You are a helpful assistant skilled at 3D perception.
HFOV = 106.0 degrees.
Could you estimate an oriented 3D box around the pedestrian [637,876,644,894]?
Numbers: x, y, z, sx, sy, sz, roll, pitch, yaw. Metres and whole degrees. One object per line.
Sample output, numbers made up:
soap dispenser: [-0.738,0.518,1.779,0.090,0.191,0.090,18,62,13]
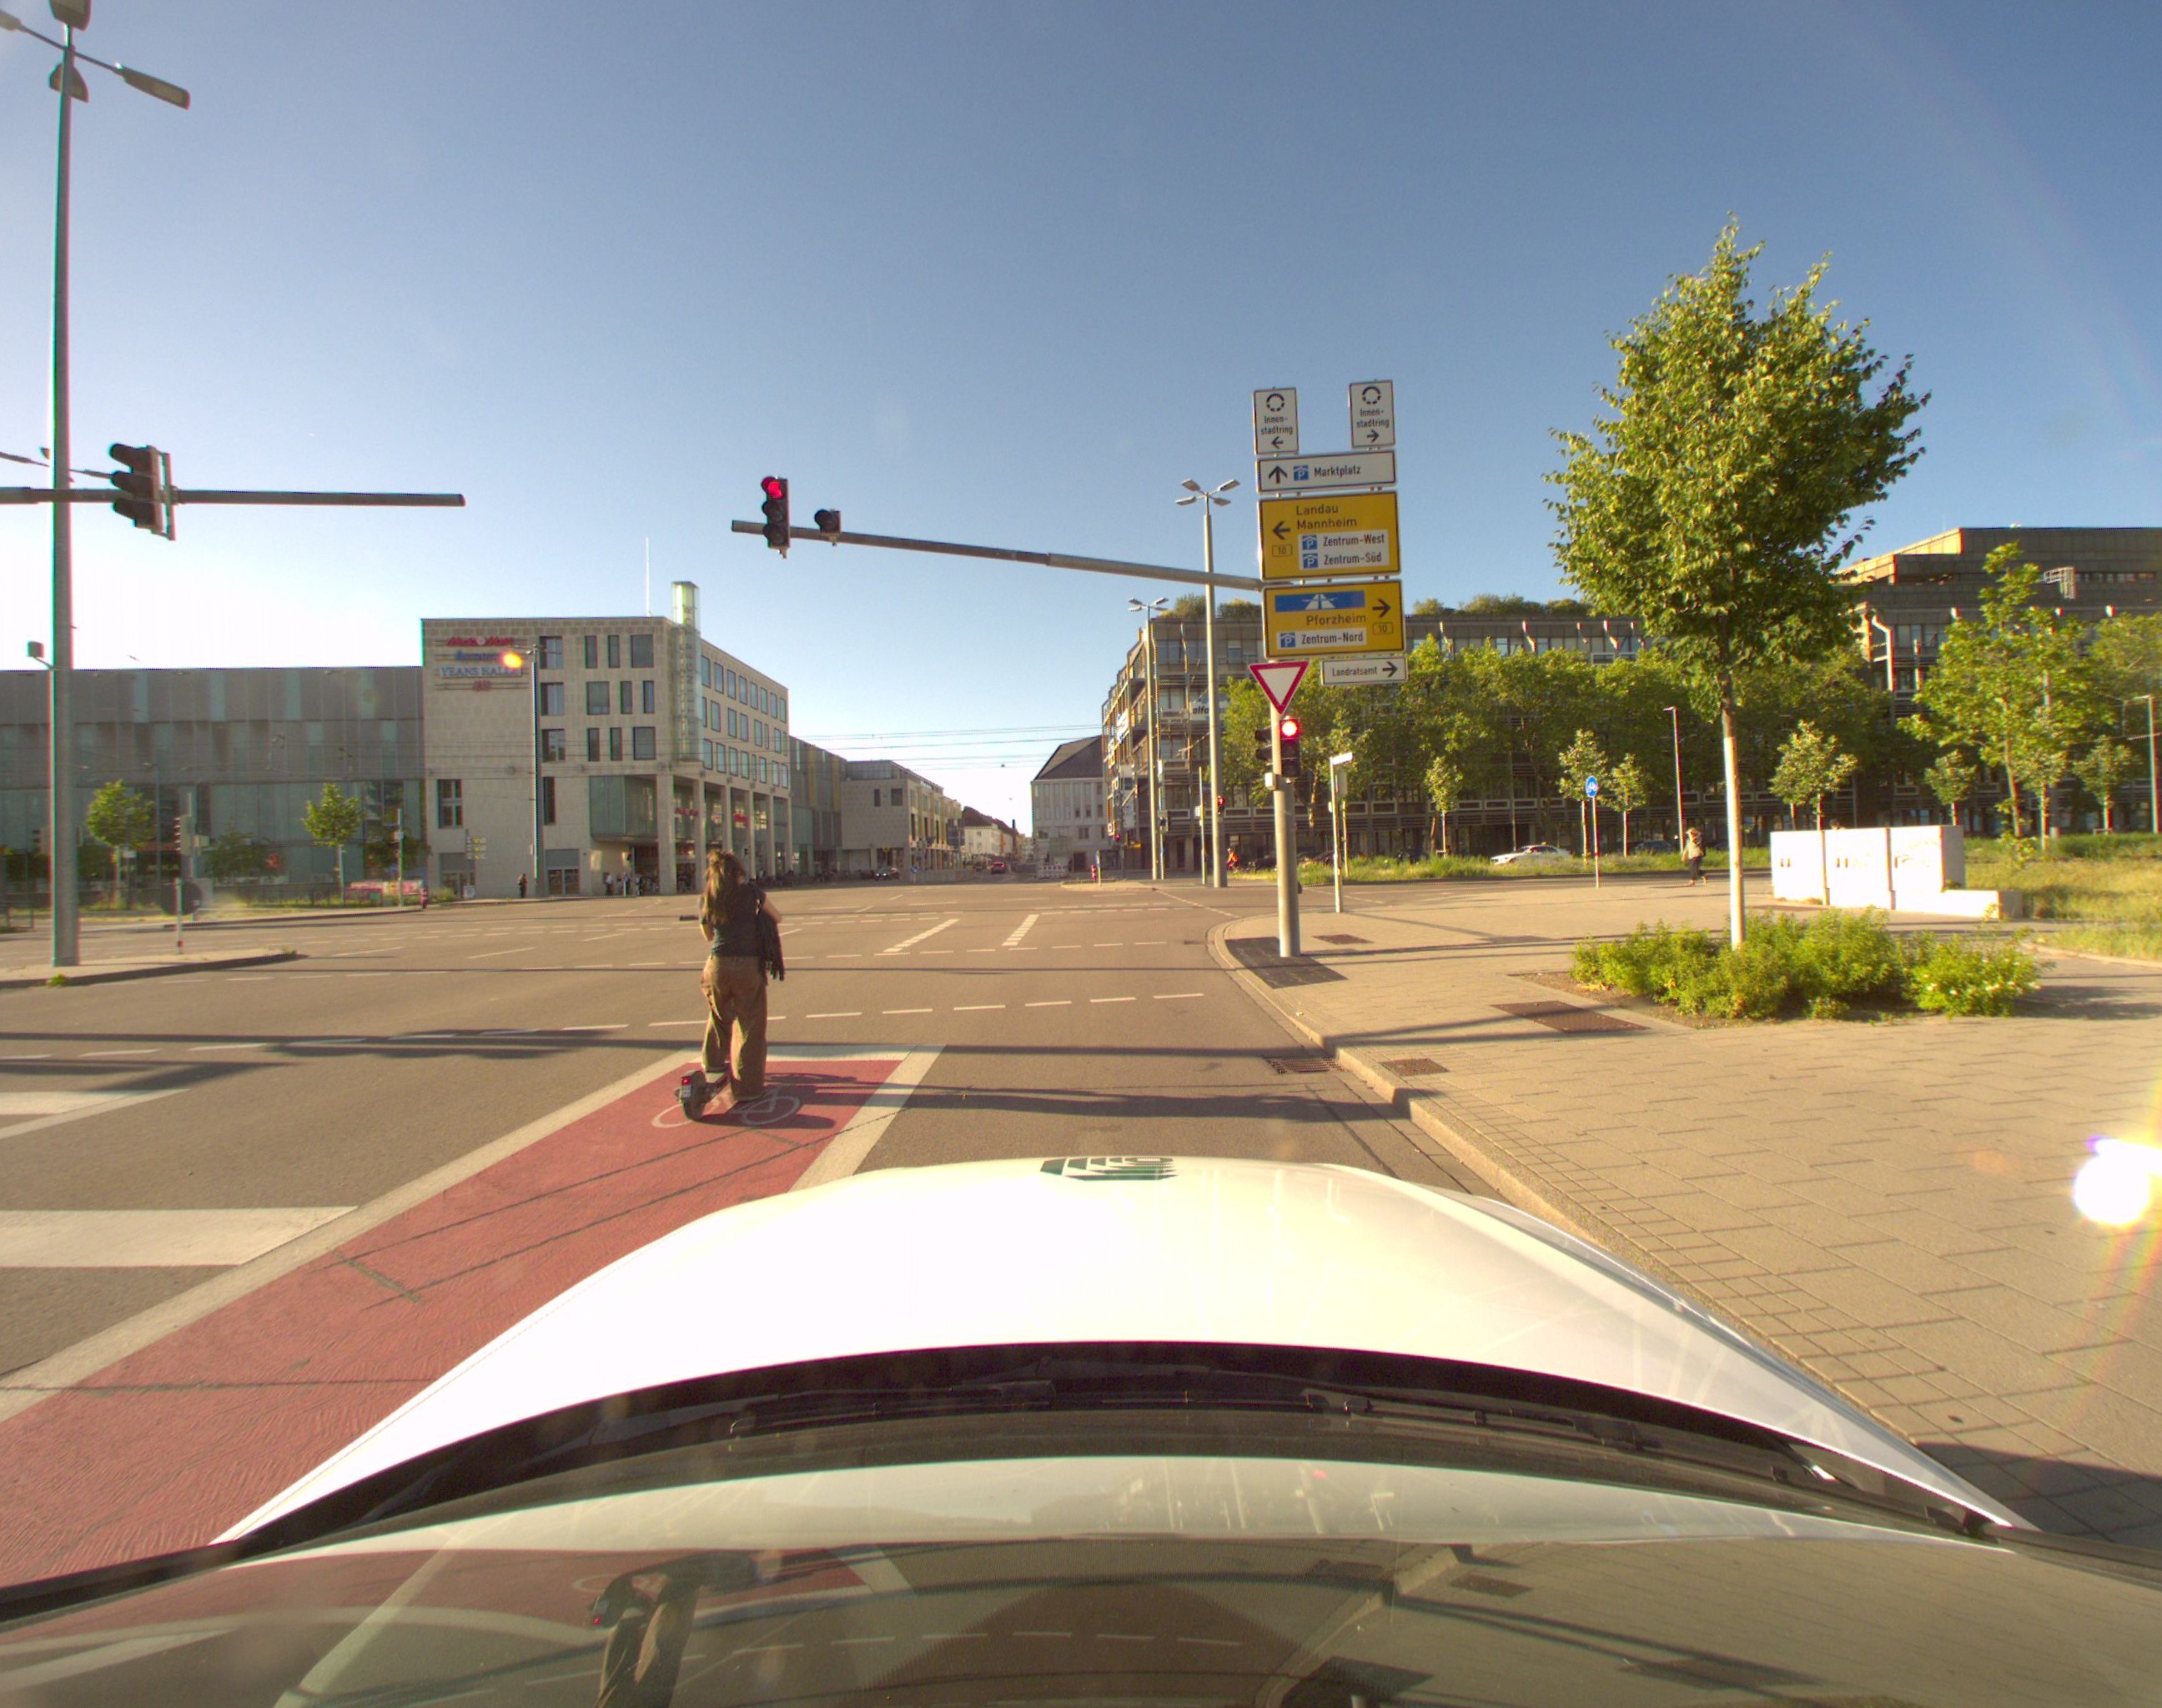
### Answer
pedestrian: [-34.068,2.399,62.921,0.388,1.426,0.499,-2,-1,-23]

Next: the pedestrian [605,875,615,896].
pedestrian: [-35.879,2.431,62.000,0.420,1.565,0.457,-2,0,2]

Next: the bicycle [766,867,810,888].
bicycle: [-26.324,2.113,73.176,3.488,1.696,1.114,-2,0,-7]

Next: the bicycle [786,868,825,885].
bicycle: [-27.414,2.224,81.161,3.491,1.527,0.984,-2,0,-10]

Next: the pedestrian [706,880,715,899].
pedestrian: [-32.242,3.067,70.923,0.480,1.585,0.513,-2,0,-3]

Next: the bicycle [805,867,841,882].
bicycle: [-27.657,2.210,87.450,3.491,1.527,0.984,-2,0,-10]

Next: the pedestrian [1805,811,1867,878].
pedestrian: [20.248,-0.254,21.854,0.694,1.728,0.939,-2,0,-12]

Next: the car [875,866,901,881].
car: [-20.696,2.059,87.279,1.989,1.486,3.995,-2,0,-4]

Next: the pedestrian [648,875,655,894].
pedestrian: [-33.402,2.375,63.290,0.388,1.412,0.434,-2,0,-24]

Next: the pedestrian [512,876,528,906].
pedestrian: [-32.579,2.147,47.319,0.525,1.694,0.546,-2,0,-8]

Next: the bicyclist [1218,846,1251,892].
bicyclist: [8.882,0.852,47.071,1.566,2.580,0.929,-2,0,-7]

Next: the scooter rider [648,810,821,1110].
scooter rider: [-2.202,0.634,5.273,0.726,1.775,0.811,-1,0,1]

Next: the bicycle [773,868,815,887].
bicycle: [-26.684,2.179,75.762,3.491,1.696,0.984,-2,0,-10]

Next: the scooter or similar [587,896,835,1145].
scooter or similar: [-2.195,0.916,5.103,0.725,1.202,1.665,-1,0,2]

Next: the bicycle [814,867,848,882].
bicycle: [-28.176,2.290,91.749,3.491,1.527,0.984,-2,0,-10]

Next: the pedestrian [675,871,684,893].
pedestrian: [-30.357,2.146,61.612,0.544,1.642,0.545,-2,0,-31]

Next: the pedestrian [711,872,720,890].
pedestrian: [-32.162,2.383,71.646,0.480,1.510,0.513,-2,0,-3]

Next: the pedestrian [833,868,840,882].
pedestrian: [-30.141,2.551,100.302,0.695,1.642,0.694,-2,0,-4]

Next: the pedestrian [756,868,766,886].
pedestrian: [-30.067,2.152,76.442,0.786,1.642,0.690,-2,0,-18]

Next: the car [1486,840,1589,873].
car: [28.889,0.141,51.653,5.424,2.014,2.097,0,-1,-1]

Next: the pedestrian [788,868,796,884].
pedestrian: [-29.981,2.266,84.463,0.652,1.642,0.693,-2,0,-7]

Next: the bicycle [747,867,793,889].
bicycle: [-26.913,2.086,70.477,3.488,1.696,1.114,-2,0,-7]

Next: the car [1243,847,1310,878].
car: [12.836,0.557,53.623,3.975,2.014,1.999,0,-1,-1]

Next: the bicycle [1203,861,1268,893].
bicycle: [8.923,1.312,47.067,3.488,1.659,0.929,-2,0,-7]

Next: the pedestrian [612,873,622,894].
pedestrian: [-35.401,2.257,62.150,0.420,1.565,0.457,-2,0,0]

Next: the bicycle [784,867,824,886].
bicycle: [-27.252,2.232,80.164,3.491,1.696,0.984,-2,0,-10]

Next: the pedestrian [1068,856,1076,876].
pedestrian: [-0.747,0.991,69.486,0.661,1.658,0.755,-2,0,-1]

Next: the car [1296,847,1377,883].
car: [14.449,0.616,46.209,3.975,2.014,1.999,0,-1,-1]

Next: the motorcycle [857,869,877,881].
motorcycle: [-25.972,2.534,98.867,2.269,1.318,0.719,-2,0,-4]

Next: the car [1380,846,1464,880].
car: [21.401,0.558,51.247,4.435,2.014,1.998,0,-1,-4]

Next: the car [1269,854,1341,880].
car: [13.848,0.779,50.475,3.976,1.508,1.867,-1,0,-2]

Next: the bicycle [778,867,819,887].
bicycle: [-27.048,2.209,78.067,3.491,1.696,0.984,-2,0,-10]

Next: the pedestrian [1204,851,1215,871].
pedestrian: [10.418,0.568,65.908,0.728,1.658,0.649,-2,0,-5]

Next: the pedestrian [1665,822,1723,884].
pedestrian: [16.764,-0.035,22.293,0.801,1.630,0.939,-2,0,-12]

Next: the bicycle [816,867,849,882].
bicycle: [-28.294,2.327,92.780,3.491,1.527,0.984,-2,0,-10]

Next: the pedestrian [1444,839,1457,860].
pedestrian: [29.564,-0.343,65.145,0.662,1.658,0.739,-2,0,-5]

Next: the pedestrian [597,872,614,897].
pedestrian: [-34.116,2.183,58.463,0.755,1.798,0.736,-2,0,-3]

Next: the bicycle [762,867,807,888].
bicycle: [-26.148,2.068,71.955,3.488,1.696,1.114,-2,0,-7]

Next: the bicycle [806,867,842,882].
bicycle: [-27.926,2.210,88.579,3.491,1.527,0.984,-2,0,-10]

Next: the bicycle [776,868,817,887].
bicycle: [-26.860,2.197,76.858,3.491,1.696,0.984,-2,0,-10]

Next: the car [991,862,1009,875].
car: [-10.794,1.881,108.862,2.195,1.607,4.320,-2,0,-4]

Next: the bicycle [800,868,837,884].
bicycle: [-27.552,2.289,85.582,3.491,1.527,0.984,-2,0,-10]

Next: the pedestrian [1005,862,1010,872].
pedestrian: [-9.755,1.726,108.666,0.608,1.411,0.569,-2,0,-5]

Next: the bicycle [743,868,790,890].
bicycle: [-26.735,2.095,69.294,3.488,1.696,1.114,-2,0,-7]
